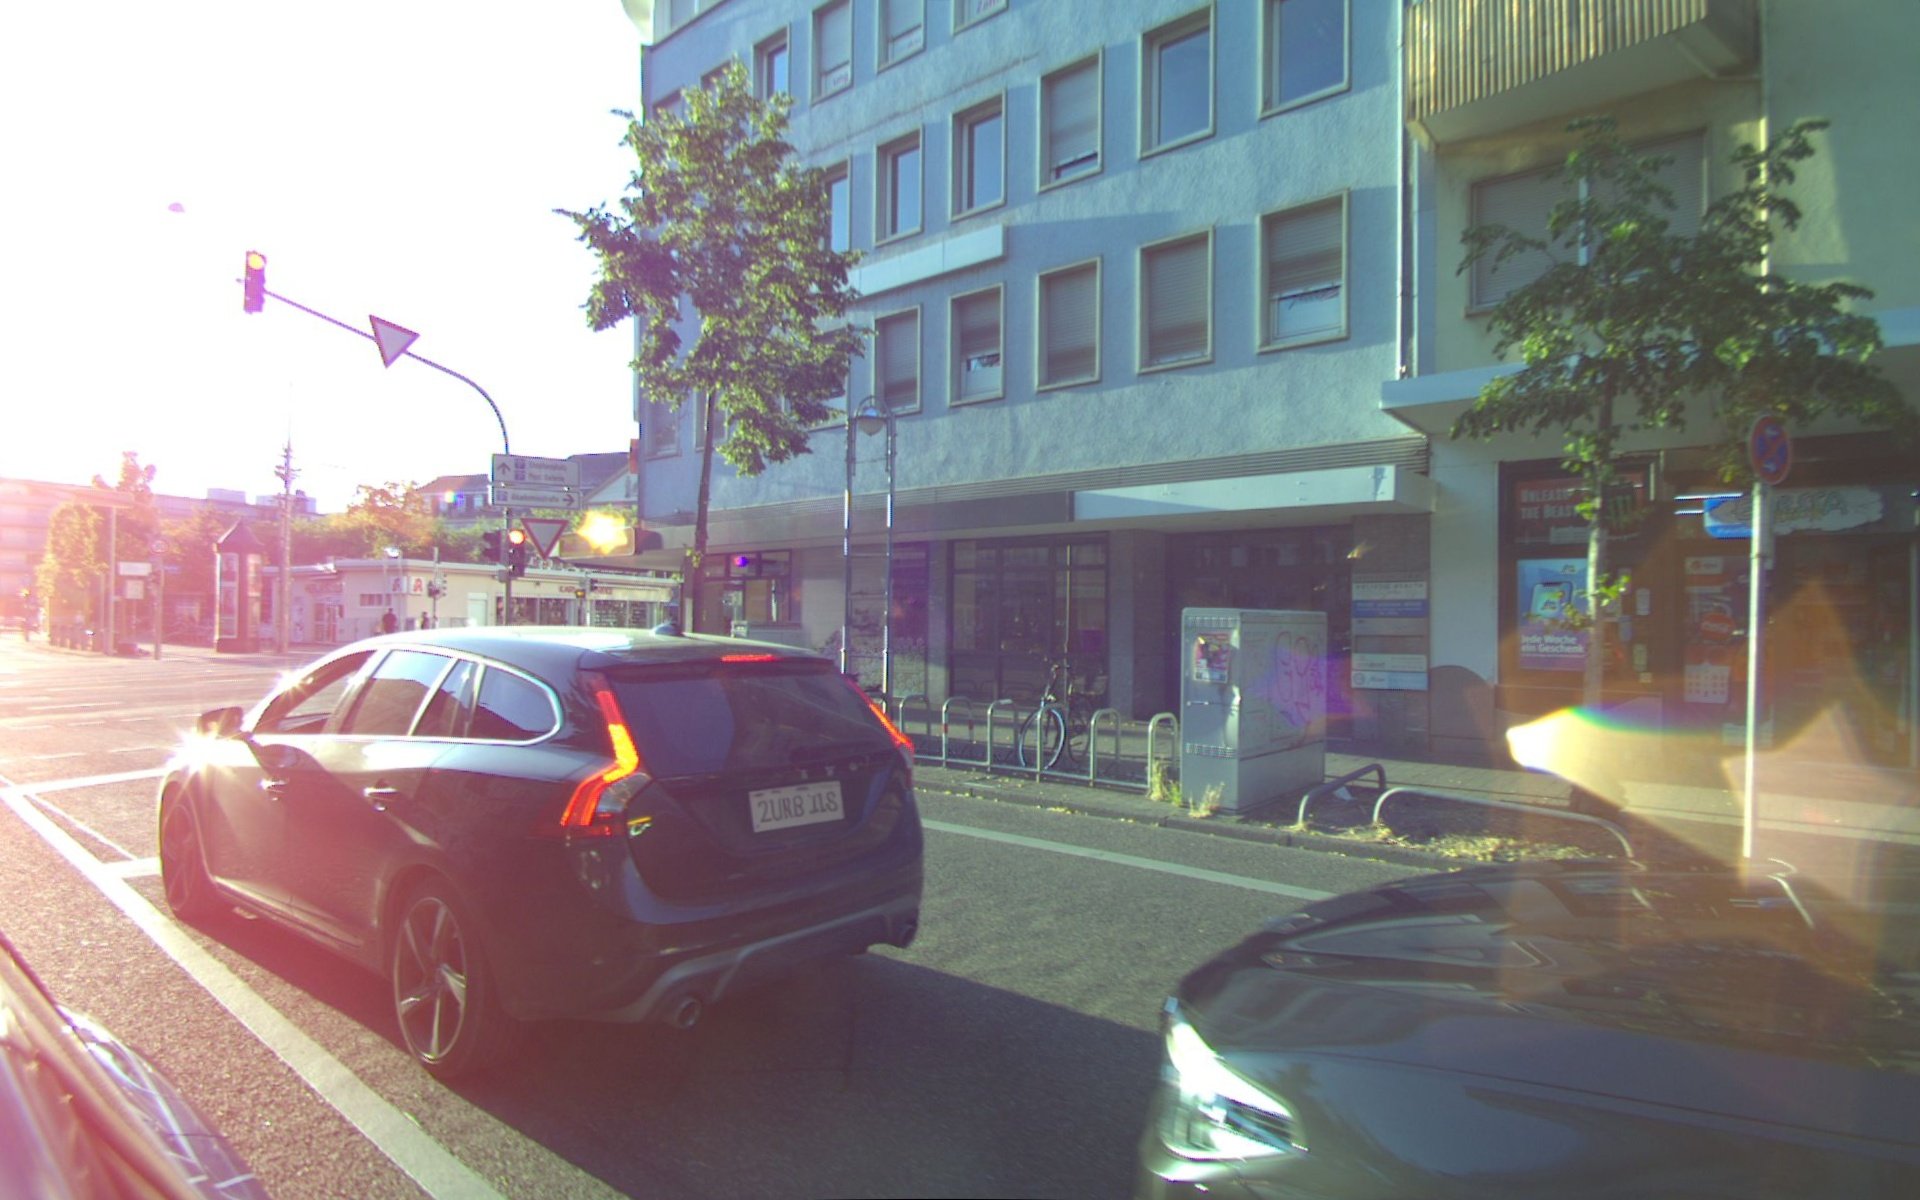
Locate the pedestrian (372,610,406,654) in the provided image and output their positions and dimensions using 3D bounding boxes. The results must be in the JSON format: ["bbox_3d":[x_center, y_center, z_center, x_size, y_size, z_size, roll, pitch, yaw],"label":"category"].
[{"bbox_3d":[-23.894,1.322,42.358,0.873,1.798,0.902,0,0,17],"label":"pedestrian"}]

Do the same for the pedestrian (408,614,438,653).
[{"bbox_3d":[-24.019,1.497,45.271,0.896,1.689,0.778,0,0,6],"label":"pedestrian"}]

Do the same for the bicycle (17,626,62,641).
[{"bbox_3d":[-65.797,2.378,72.387,2.365,0.966,0.673,0,0,-42],"label":"bicycle"}]

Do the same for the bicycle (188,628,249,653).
[{"bbox_3d":[-34.851,1.903,47.591,0.777,1.096,2.196,0,-1,34],"label":"bicycle"}]

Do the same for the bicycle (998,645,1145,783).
[{"bbox_3d":[1.202,1.125,10.537,0.491,1.228,1.988,0,0,41],"label":"bicycle"}]

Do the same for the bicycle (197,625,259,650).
[{"bbox_3d":[-33.931,1.726,46.944,0.777,1.096,2.171,0,-1,34],"label":"bicycle"}]

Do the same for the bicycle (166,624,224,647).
[{"bbox_3d":[-38.401,1.801,50.816,0.779,1.096,2.153,0,-2,41],"label":"bicycle"}]

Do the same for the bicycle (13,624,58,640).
[{"bbox_3d":[-67.068,2.316,73.447,2.365,1.079,0.673,0,0,-42],"label":"bicycle"}]

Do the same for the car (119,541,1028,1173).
[{"bbox_3d":[-2.078,0.708,4.697,4.504,1.559,1.939,-2,-3,39],"label":"car"}]

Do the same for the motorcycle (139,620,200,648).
[{"bbox_3d":[-41.100,1.756,52.648,2.416,1.376,0.780,0,-1,-44],"label":"motorcycle"}]

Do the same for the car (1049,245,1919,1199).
[{"bbox_3d":[2.483,0.567,0.615,4.613,1.657,1.925,0,-2,41],"label":"car"}]

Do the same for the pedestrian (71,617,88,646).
[{"bbox_3d":[-52.777,1.896,60.675,0.767,1.689,0.908,0,0,-42],"label":"pedestrian"}]

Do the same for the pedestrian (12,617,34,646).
[{"bbox_3d":[-55.993,1.871,60.492,0.892,1.689,0.781,0,0,-38],"label":"pedestrian"}]

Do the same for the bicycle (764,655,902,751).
[{"bbox_3d":[-1.549,1.251,12.724,0.490,0.999,1.991,0,0,37],"label":"bicycle"}]

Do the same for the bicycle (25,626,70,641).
[{"bbox_3d":[-64.826,2.379,71.889,2.365,0.966,0.673,0,0,-42],"label":"bicycle"}]
